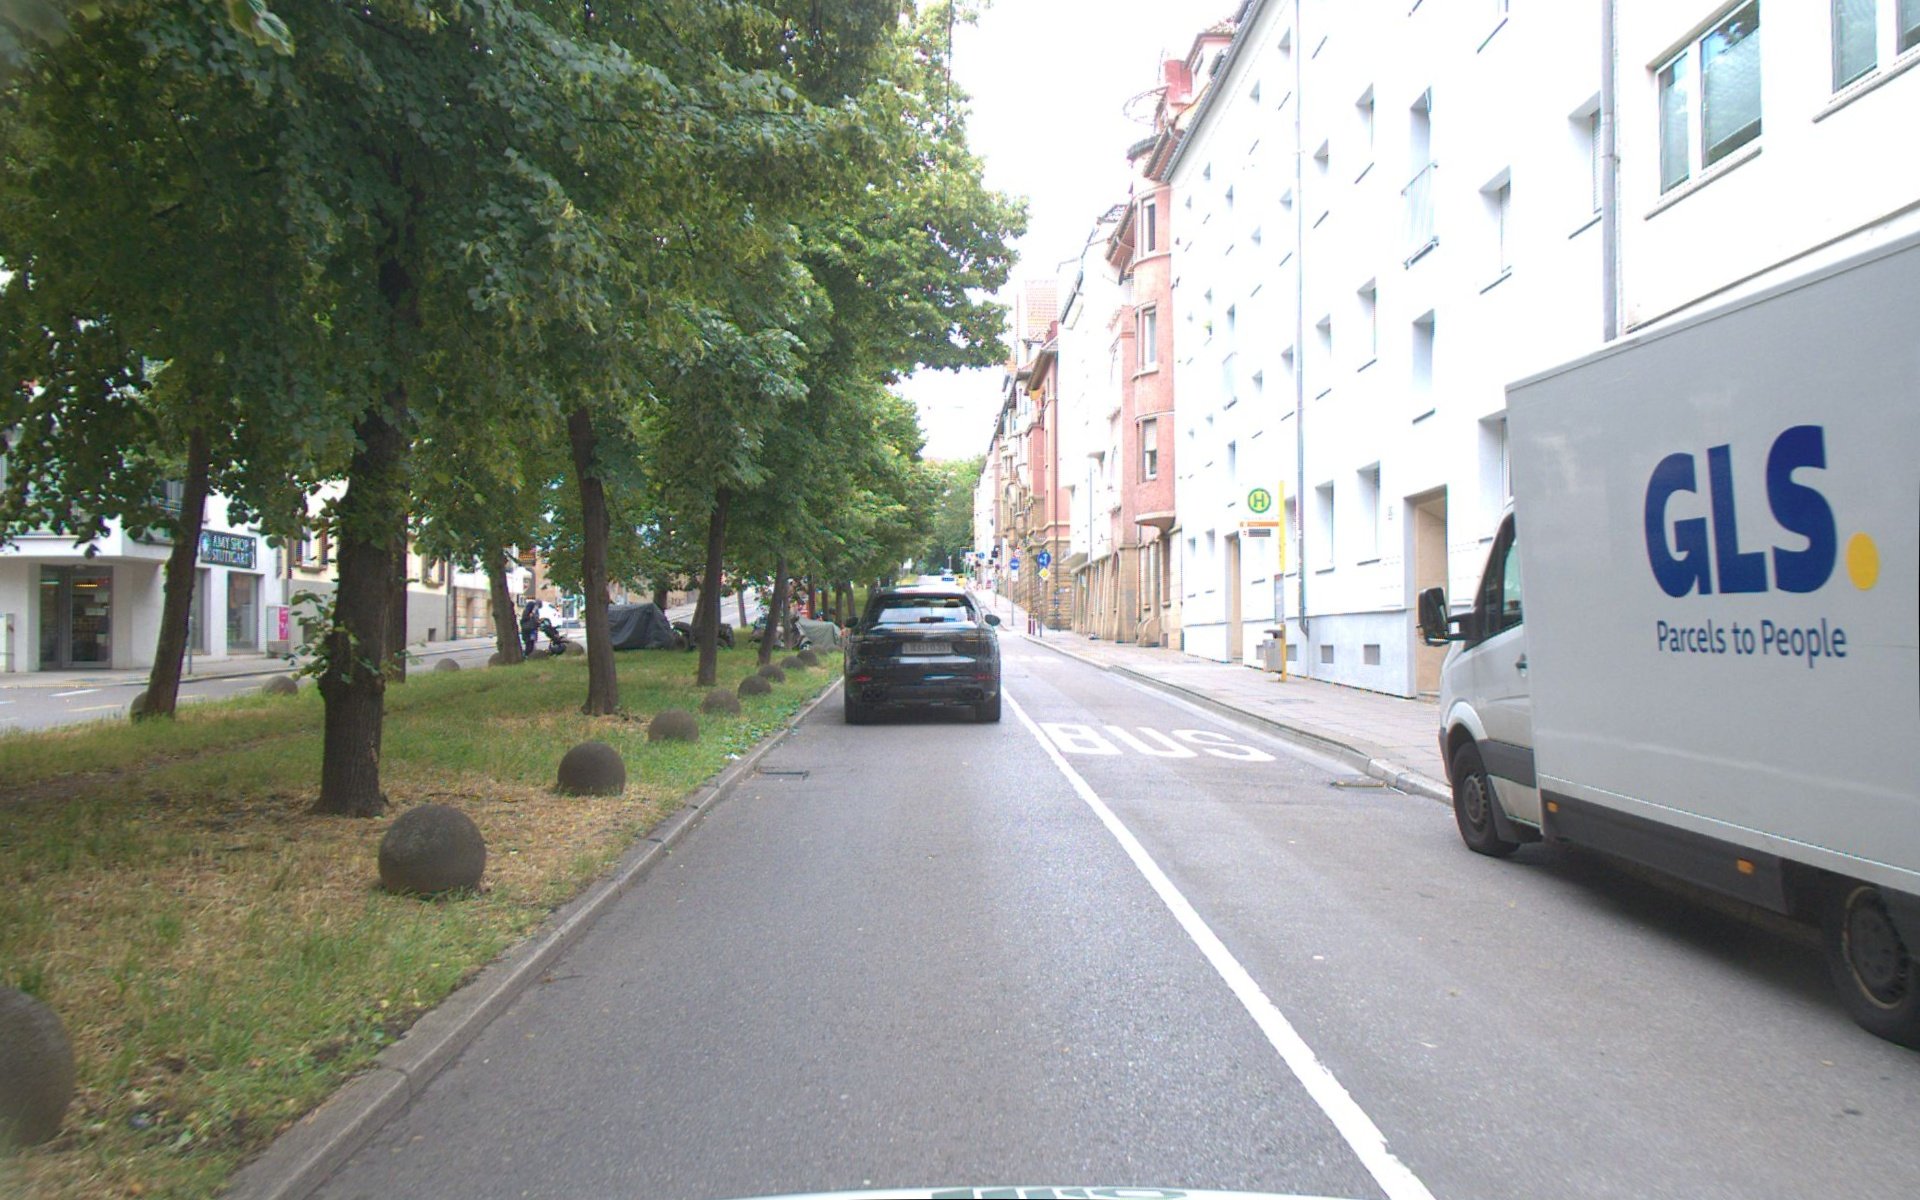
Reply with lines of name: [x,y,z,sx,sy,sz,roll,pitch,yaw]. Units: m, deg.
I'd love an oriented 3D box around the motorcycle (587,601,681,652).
motorcycle: [-8.782,0.698,44.670,2.334,1.340,1.045,0,0,-2]

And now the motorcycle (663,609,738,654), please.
motorcycle: [-7.505,0.899,47.915,1.986,1.257,0.897,-1,0,4]

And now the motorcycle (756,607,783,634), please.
motorcycle: [-8.273,0.888,71.834,0.882,1.126,2.250,-1,-2,0]

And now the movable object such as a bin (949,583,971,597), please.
movable object such as a bin: [0.020,-0.911,153.159,1.227,1.296,1.822,0,0,-36]

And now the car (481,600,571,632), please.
car: [-21.579,0.775,82.337,3.906,1.523,2.000,-1,0,-1]

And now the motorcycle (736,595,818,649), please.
motorcycle: [-5.031,0.604,45.568,2.148,1.464,0.874,0,0,1]

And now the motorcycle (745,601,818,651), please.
motorcycle: [-4.828,0.717,44.809,1.886,1.319,0.893,-1,-2,-3]

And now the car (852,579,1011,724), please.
car: [-0.423,0.609,21.587,1.865,1.695,4.133,0,0,-3]

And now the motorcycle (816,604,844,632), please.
motorcycle: [-5.660,0.787,72.017,1.041,1.168,2.447,-1,0,0]

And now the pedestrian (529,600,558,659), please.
pedestrian: [-11.673,0.813,46.358,0.649,1.644,0.579,0,0,1]

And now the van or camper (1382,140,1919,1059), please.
van or camper: [4.175,-0.012,7.801,2.429,2.852,7.237,-1,0,0]

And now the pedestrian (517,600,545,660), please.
pedestrian: [-11.787,0.816,45.441,0.622,1.641,0.763,0,0,-7]

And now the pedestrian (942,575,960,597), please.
pedestrian: [-0.859,-1.283,154.384,1.292,2.049,1.006,0,0,-38]

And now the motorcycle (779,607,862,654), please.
motorcycle: [-3.980,0.865,47.375,2.308,1.257,1.033,0,1,-3]
